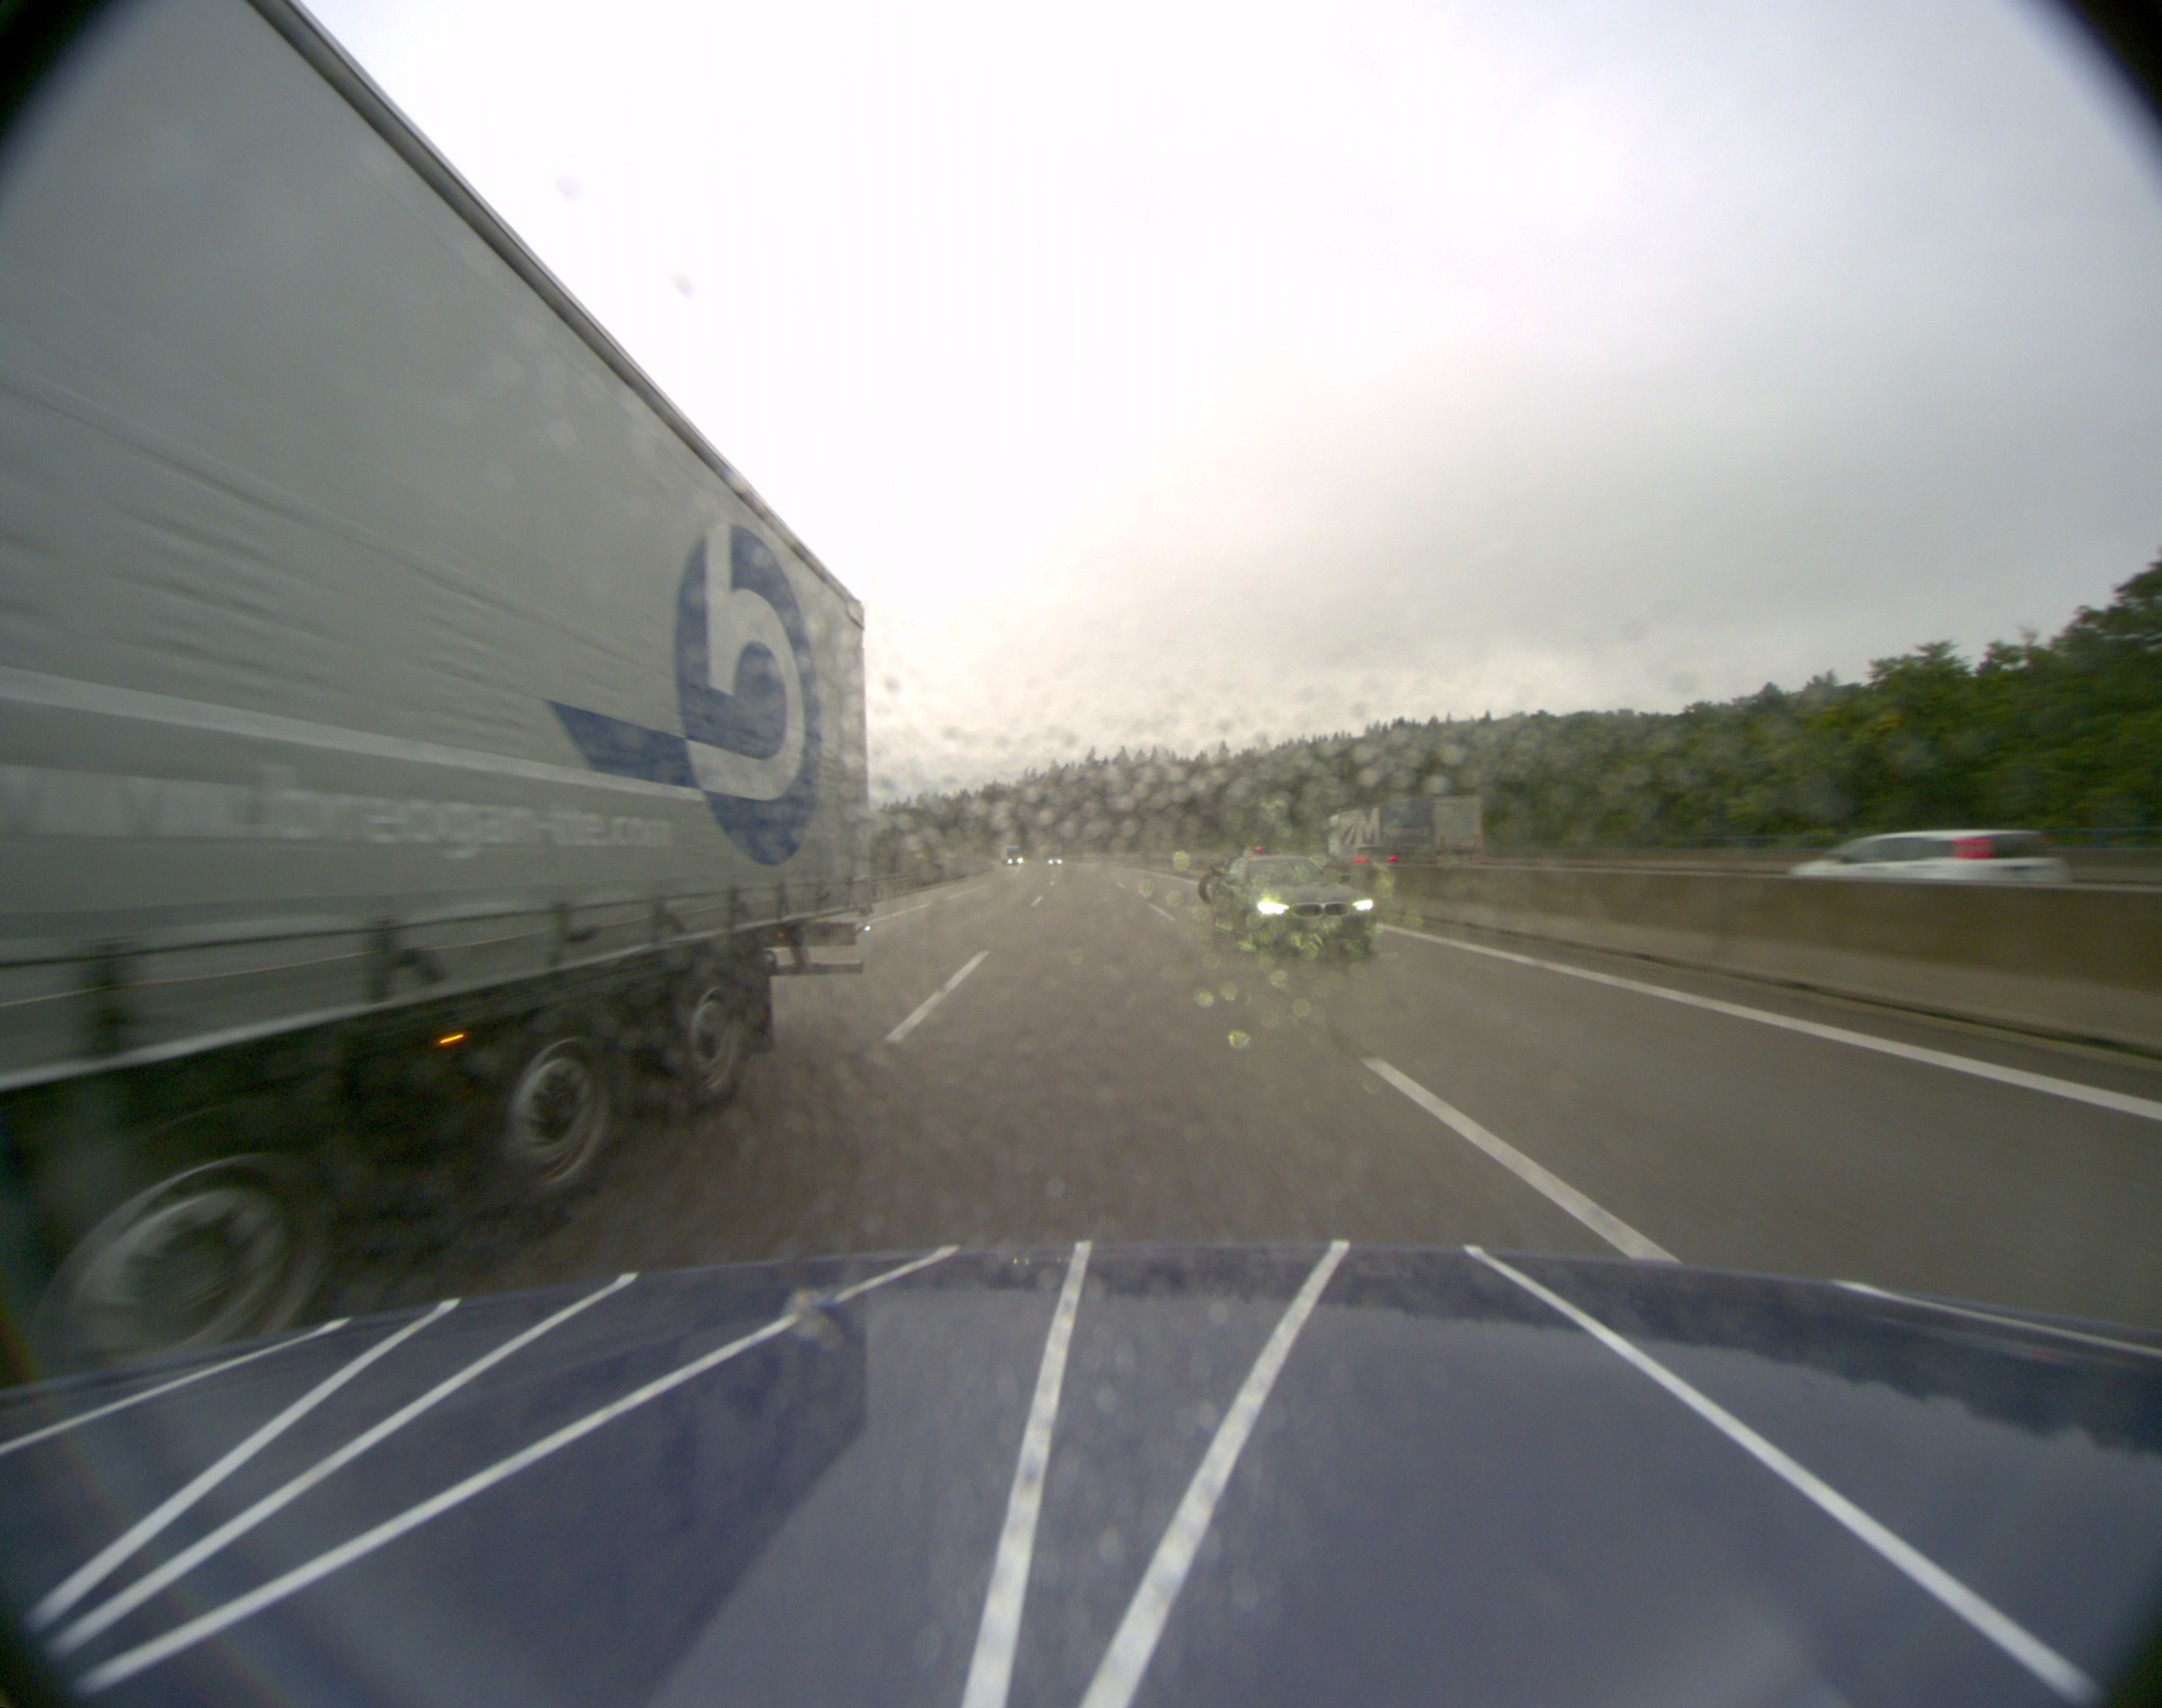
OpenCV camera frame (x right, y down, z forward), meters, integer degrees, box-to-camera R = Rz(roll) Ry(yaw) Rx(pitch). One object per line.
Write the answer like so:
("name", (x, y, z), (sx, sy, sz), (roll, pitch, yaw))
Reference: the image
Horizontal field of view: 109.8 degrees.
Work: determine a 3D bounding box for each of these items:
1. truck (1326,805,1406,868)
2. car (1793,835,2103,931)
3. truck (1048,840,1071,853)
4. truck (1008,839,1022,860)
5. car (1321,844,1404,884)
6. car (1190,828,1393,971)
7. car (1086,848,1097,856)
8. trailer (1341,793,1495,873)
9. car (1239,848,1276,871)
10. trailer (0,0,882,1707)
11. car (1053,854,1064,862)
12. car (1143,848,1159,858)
("truck", (19.532, -1.141, 52.547), (2.954, 4.009, 6.380), (-2, 0, -1))
("car", (15.820, 0.467, 14.188), (1.661, 1.512, 3.638), (-2, 0, 1))
("truck", (-6.531, -2.296, 227.393), (3.545, 3.656, 11.901), (-2, 0, -17))
("truck", (-13.898, -0.886, 160.748), (2.738, 4.127, 8.618), (0, 0, -4))
("car", (12.179, 0.390, 33.250), (1.890, 1.539, 4.777), (-2, 0, 1))
("car", (3.375, 0.620, 13.630), (1.912, 1.933, 6.162), (-2, 0, 0))
("car", (2.345, -0.428, 166.654), (1.999, 1.539, 4.216), (-2, 0, -4))
("trailer", (19.614, -1.099, 45.825), (2.954, 4.009, 13.786), (-2, 0, -1))
("car", (12.835, 0.367, 55.441), (1.788, 1.539, 3.886), (-2, 0, 1))
("trailer", (-3.364, -0.229, 0.422), (2.686, 4.017, 13.703), (-1, 0, 1))
("car", (-3.679, 0.642, 123.514), (1.717, 1.399, 4.935), (0, 0, -1))
("car", (11.637, -0.227, 126.467), (1.999, 1.539, 4.216), (-2, 0, -4))
